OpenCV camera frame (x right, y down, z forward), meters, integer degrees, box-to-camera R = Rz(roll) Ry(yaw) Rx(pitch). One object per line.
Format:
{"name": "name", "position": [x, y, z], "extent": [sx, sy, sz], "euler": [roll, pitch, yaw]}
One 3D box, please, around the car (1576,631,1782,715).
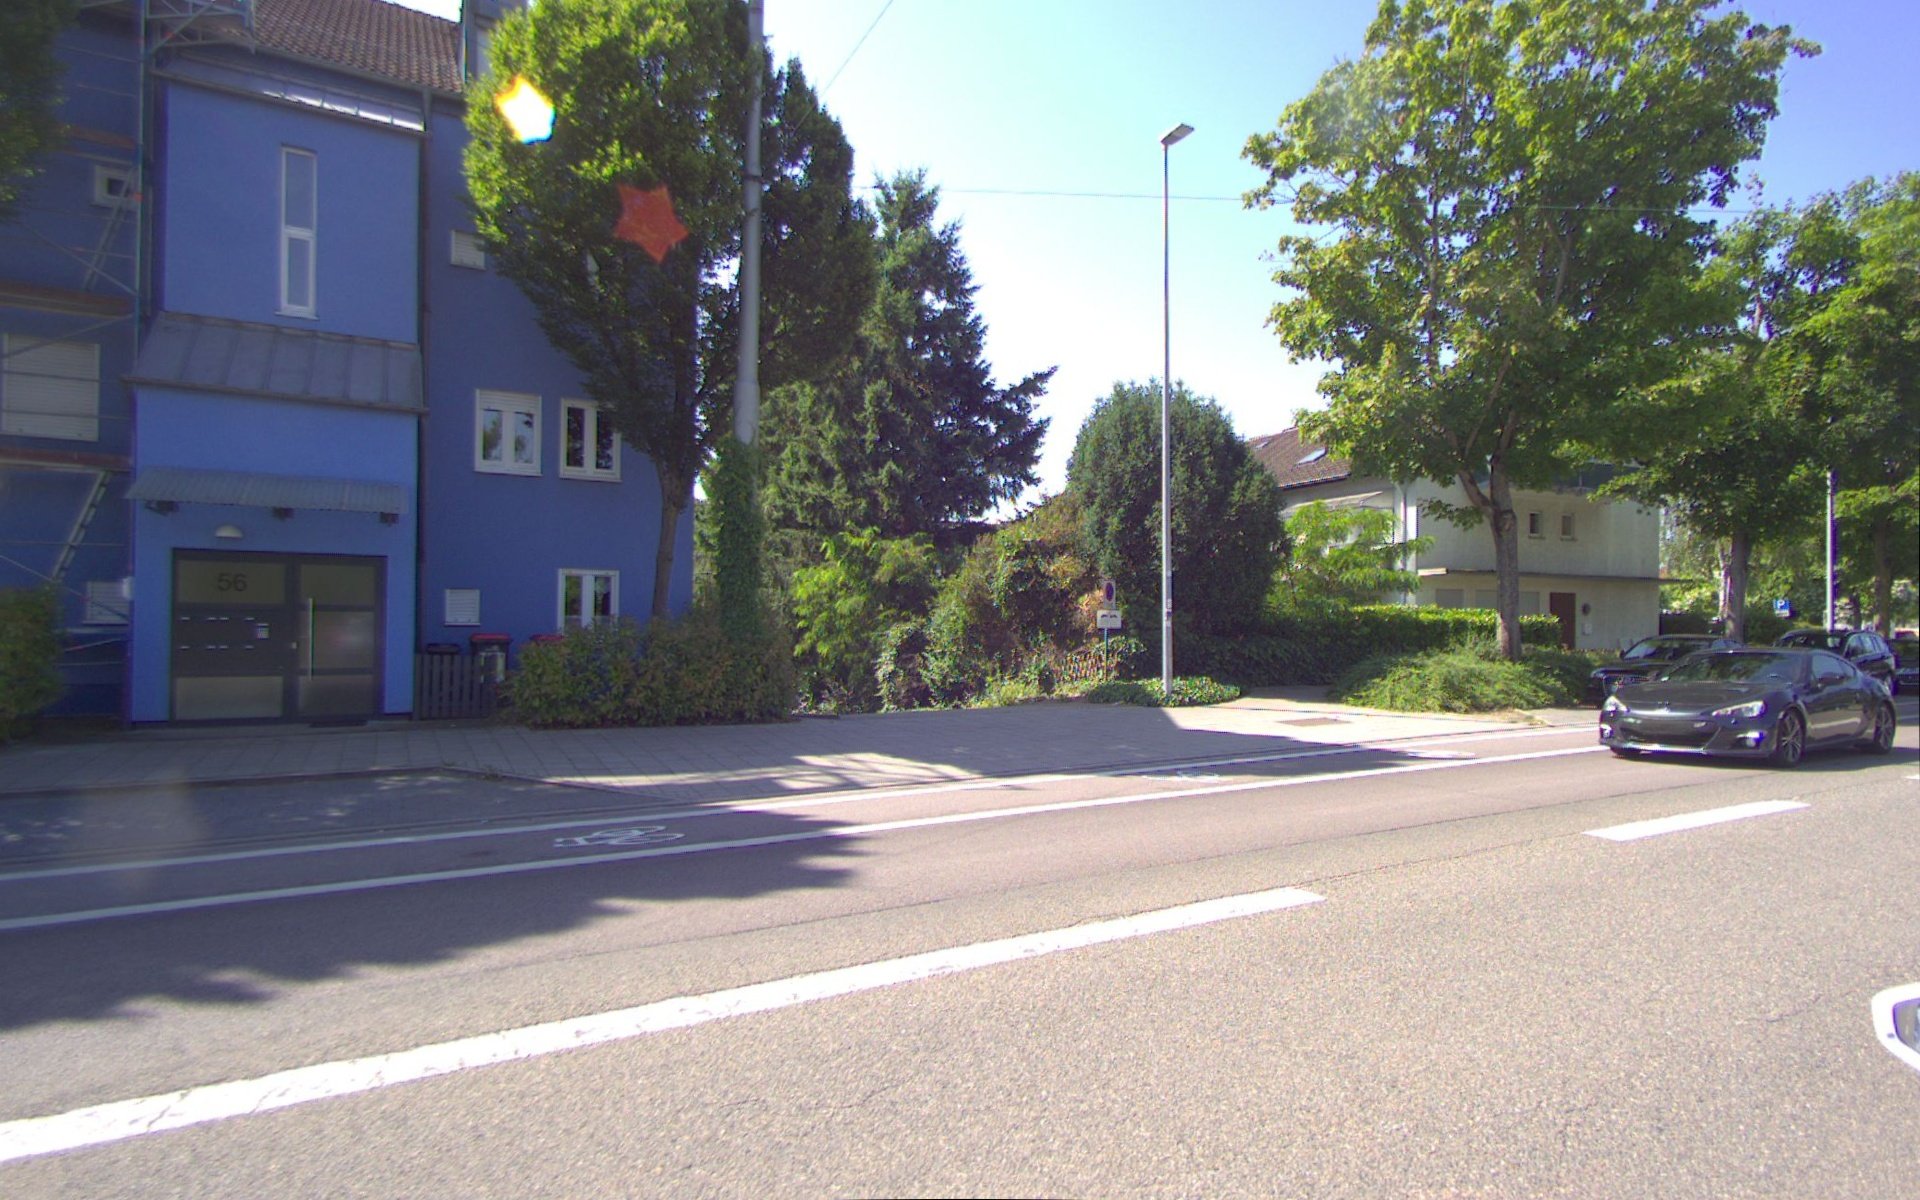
{"name": "car", "position": [14.599, 1.401, 20.307], "extent": [4.859, 1.485, 1.829], "euler": [1, -1, -34]}

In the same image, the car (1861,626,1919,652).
{"name": "car", "position": [81.301, 3.370, 87.157], "extent": [1.981, 2.040, 4.228], "euler": [2, 0, -35]}

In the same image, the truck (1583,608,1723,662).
{"name": "truck", "position": [44.832, 2.198, 65.239], "extent": [2.206, 3.059, 7.102], "euler": [1, 1, -31]}

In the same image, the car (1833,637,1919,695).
{"name": "car", "position": [25.351, 1.711, 26.841], "extent": [4.727, 1.398, 1.682], "euler": [1, -1, -31]}

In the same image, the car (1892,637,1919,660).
{"name": "car", "position": [57.363, 2.862, 58.674], "extent": [1.748, 1.368, 3.973], "euler": [1, -2, -27]}

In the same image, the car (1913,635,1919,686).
{"name": "car", "position": [29.476, 1.796, 29.069], "extent": [3.956, 1.470, 1.634], "euler": [2, 0, -29]}

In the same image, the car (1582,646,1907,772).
{"name": "car", "position": [9.341, 1.184, 11.897], "extent": [4.017, 1.260, 1.679], "euler": [1, -3, -31]}

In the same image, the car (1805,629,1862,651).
{"name": "car", "position": [75.658, 3.451, 87.012], "extent": [1.535, 1.901, 3.405], "euler": [1, -2, -31]}

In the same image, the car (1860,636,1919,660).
{"name": "car", "position": [52.535, 2.649, 55.431], "extent": [1.748, 1.241, 3.973], "euler": [1, -2, -27]}

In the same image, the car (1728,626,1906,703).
{"name": "car", "position": [20.413, 1.475, 23.879], "extent": [4.837, 1.627, 1.753], "euler": [1, -1, -31]}
